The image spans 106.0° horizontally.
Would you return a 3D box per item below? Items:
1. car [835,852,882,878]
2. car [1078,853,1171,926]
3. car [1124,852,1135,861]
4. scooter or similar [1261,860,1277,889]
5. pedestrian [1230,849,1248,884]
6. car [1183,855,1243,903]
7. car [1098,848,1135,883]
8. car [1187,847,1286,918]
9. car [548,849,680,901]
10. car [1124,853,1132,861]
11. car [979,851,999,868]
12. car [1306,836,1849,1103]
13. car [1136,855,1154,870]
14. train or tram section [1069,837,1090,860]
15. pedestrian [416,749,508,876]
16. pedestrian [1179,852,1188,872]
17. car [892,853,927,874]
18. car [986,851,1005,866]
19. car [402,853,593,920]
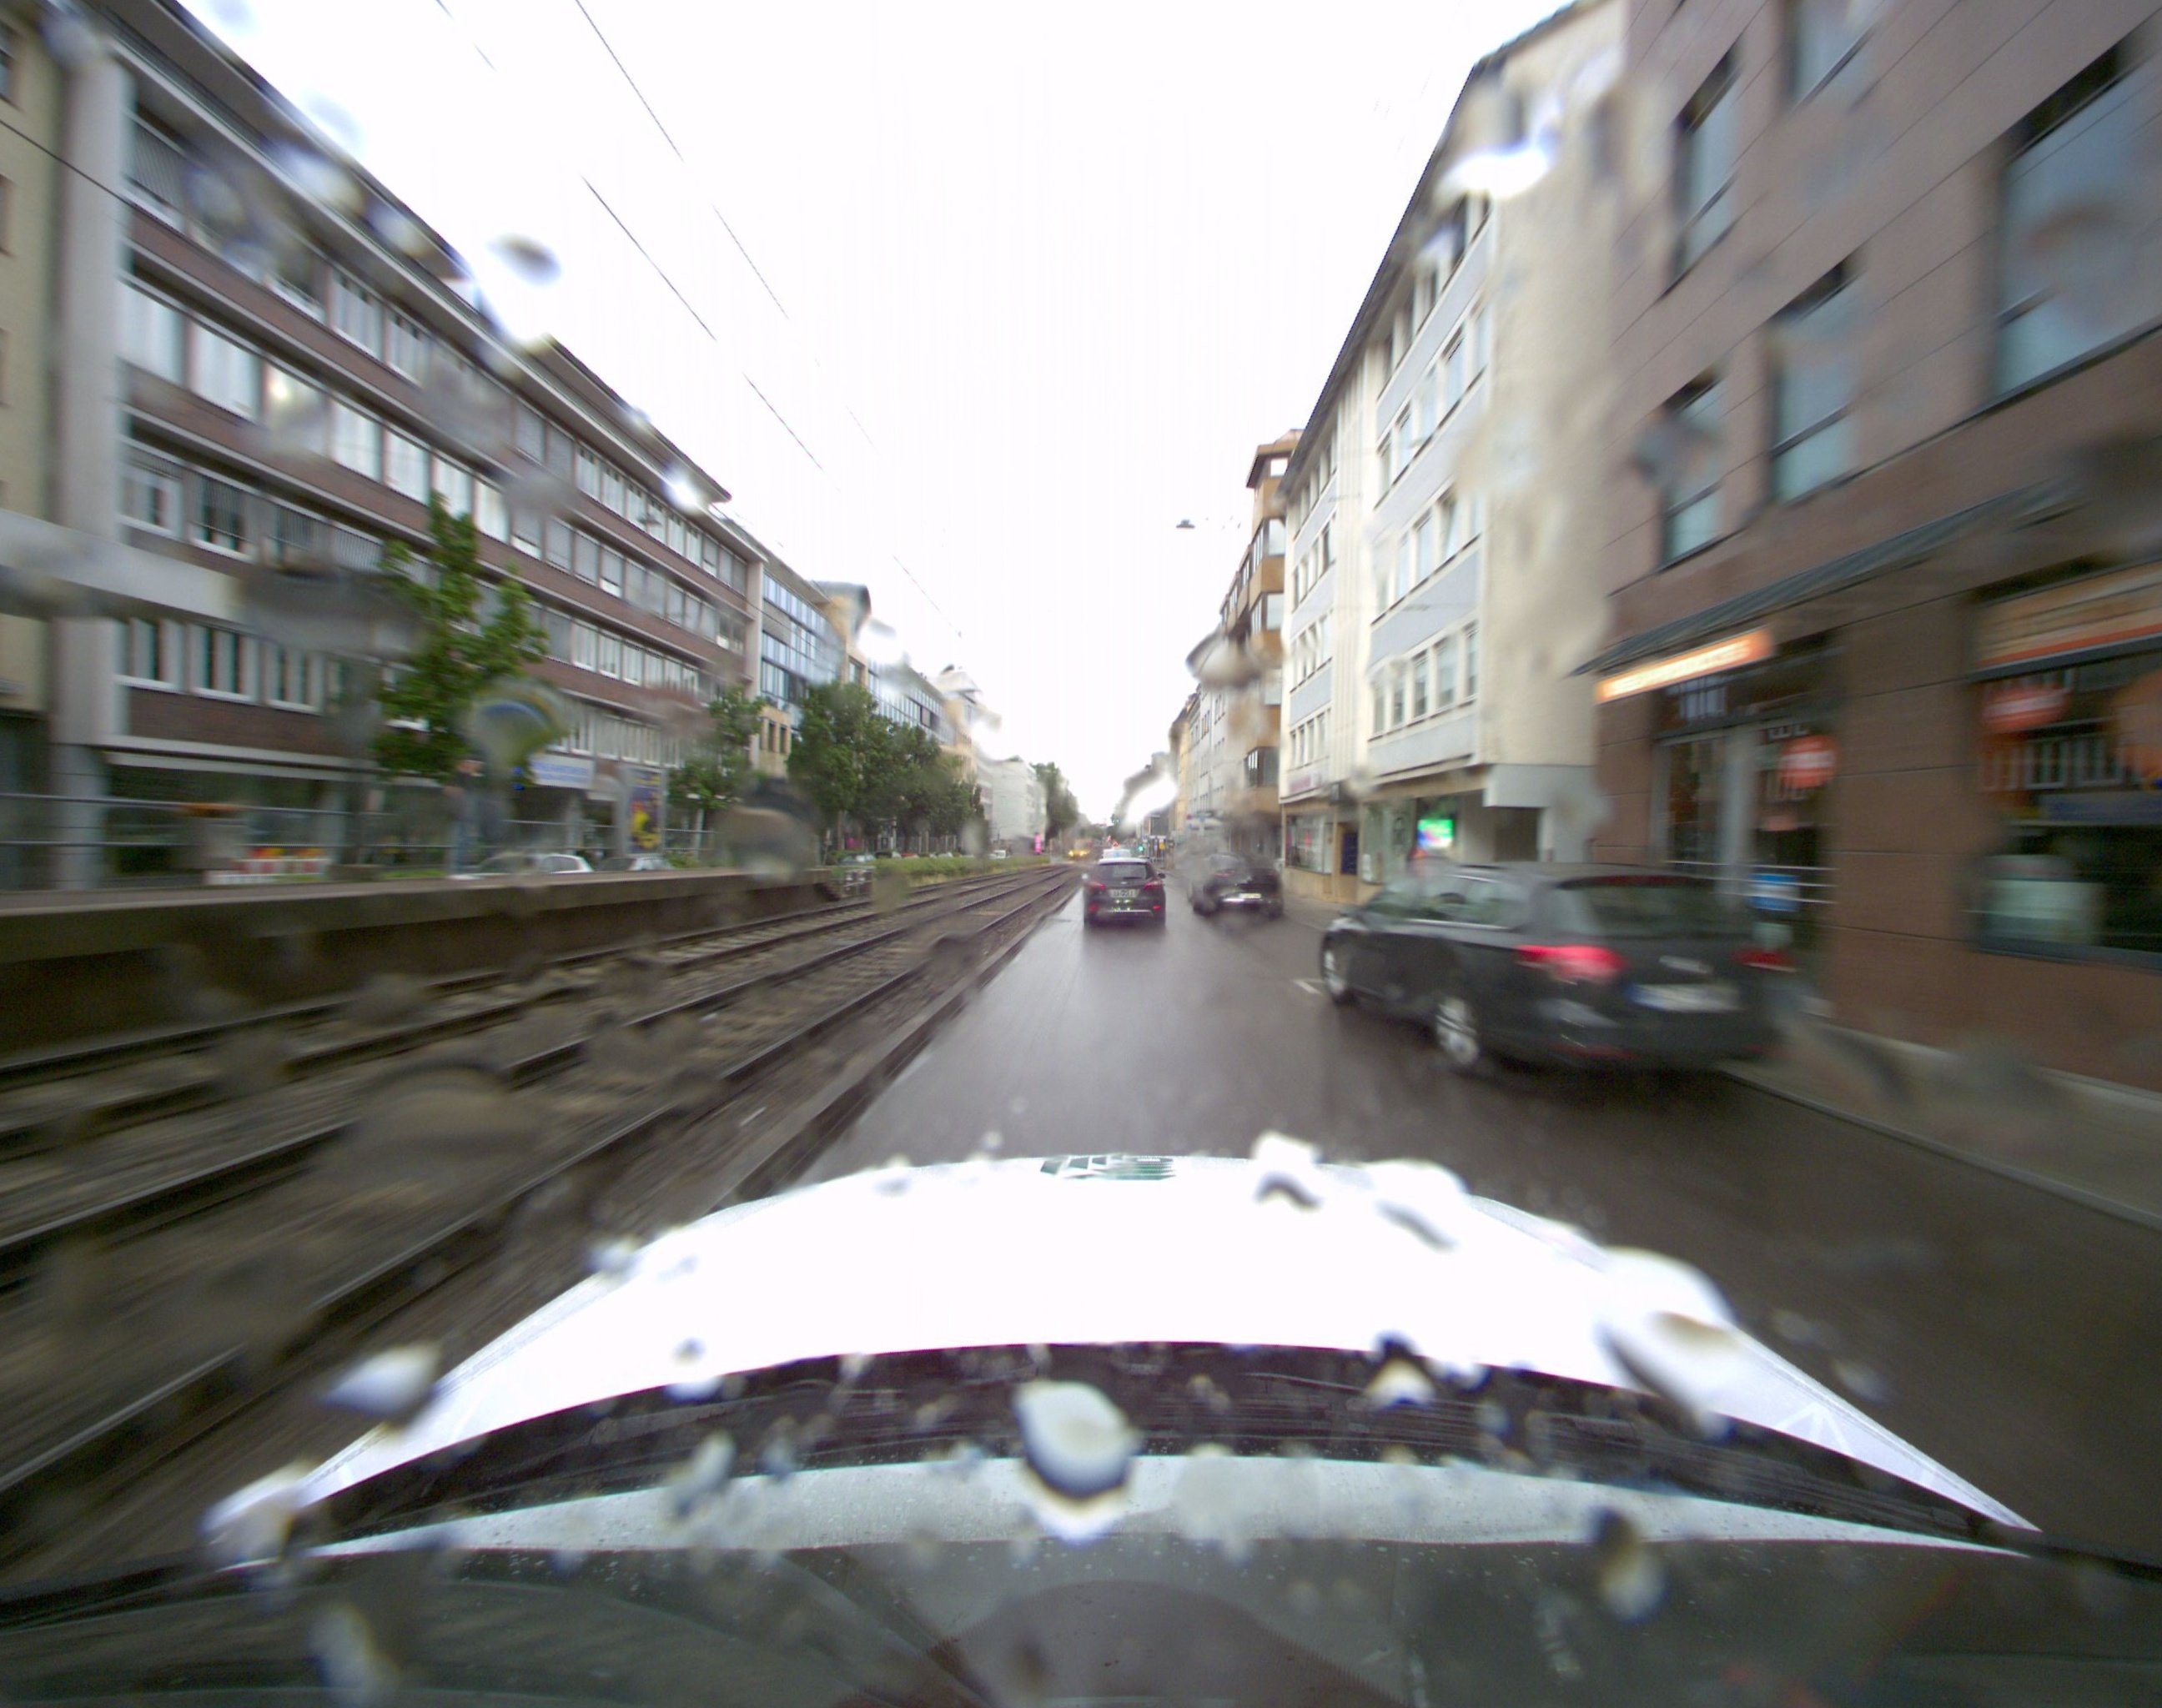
[{"bbox_3d":[-12.679,0.609,46.588,1.563,1.436,4.176,0,0,-1],"label":"car"},{"bbox_3d":[0.988,0.751,18.508,1.899,1.462,3.447,1,-1,3],"label":"car"},{"bbox_3d":[9.245,0.550,154.999,1.898,1.633,4.577,1,-1,3],"label":"car"},{"bbox_3d":[7.248,0.772,31.381,0.209,1.083,1.231,1,0,-6],"label":"scooter or similar"},{"bbox_3d":[7.602,0.600,39.272,0.693,1.652,0.966,0,0,1],"label":"pedestrian"},{"bbox_3d":[4.252,0.768,26.590,1.551,1.476,3.568,0,0,3],"label":"car"},{"bbox_3d":[2.021,0.643,45.348,1.898,1.865,4.578,1,-1,4],"label":"car"},{"bbox_3d":[3.951,0.666,21.554,1.800,1.631,5.171,0,0,2],"label":"car"},{"bbox_3d":[-13.847,0.585,24.434,1.563,1.436,4.176,0,0,-1],"label":"car"},{"bbox_3d":[10.833,0.700,186.670,1.898,1.633,4.577,1,-1,3],"label":"car"},{"bbox_3d":[-10.783,0.645,96.012,1.901,1.865,4.572,1,-1,-1],"label":"car"},{"bbox_3d":[3.407,0.653,6.835,1.768,1.468,4.608,0,0,0],"label":"car"},{"bbox_3d":[7.288,1.023,92.928,1.898,1.633,4.577,1,-1,3],"label":"car"},{"bbox_3d":[-0.302,-0.929,143.151,3.502,3.777,11.329,0,0,0],"label":"train or tram section"},{"bbox_3d":[-9.055,-0.587,11.943,0.653,1.802,0.850,1,0,0],"label":"pedestrian"},{"bbox_3d":[7.979,0.642,63.610,0.609,1.538,0.649,0,-1,1],"label":"pedestrian"},{"bbox_3d":[-12.168,0.666,57.993,1.563,1.436,4.176,0,0,-1],"label":"car"},{"bbox_3d":[-10.777,0.557,102.733,1.901,1.865,4.572,1,-1,-1],"label":"car"},{"bbox_3d":[-13.885,0.710,19.726,1.563,1.436,4.236,0,0,-1],"label":"car"}]
